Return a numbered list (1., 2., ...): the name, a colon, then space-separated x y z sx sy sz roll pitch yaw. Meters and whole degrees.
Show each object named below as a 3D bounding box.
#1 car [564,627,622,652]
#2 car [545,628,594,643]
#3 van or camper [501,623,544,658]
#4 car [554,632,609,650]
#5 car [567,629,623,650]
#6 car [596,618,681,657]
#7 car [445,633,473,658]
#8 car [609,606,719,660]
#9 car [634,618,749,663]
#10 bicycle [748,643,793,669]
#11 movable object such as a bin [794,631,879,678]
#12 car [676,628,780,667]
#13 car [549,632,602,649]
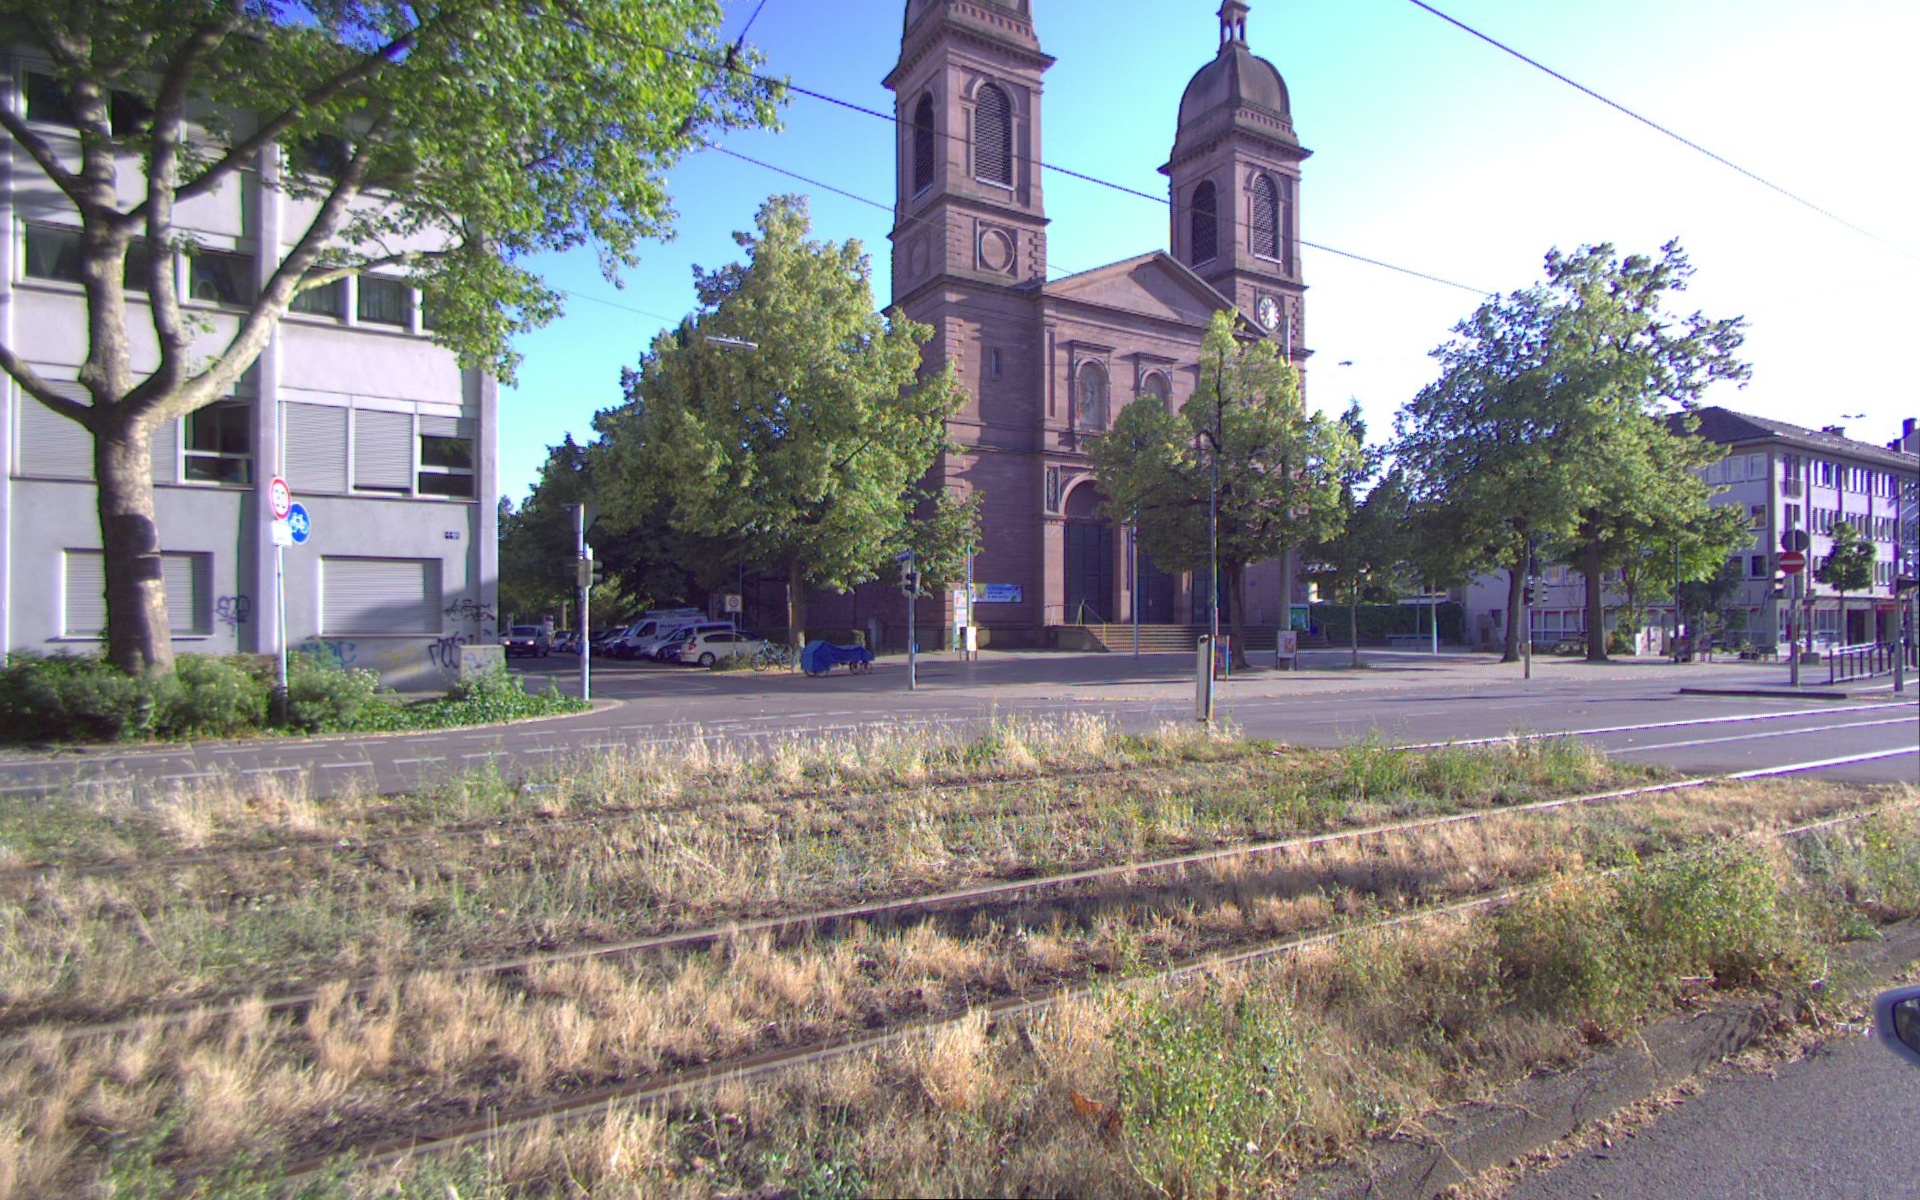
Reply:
1. car: -26.156 2.801 71.659 3.667 1.692 1.662 1 -1 -30
2. car: -33.087 3.004 85.195 3.667 1.222 1.662 1 -1 -30
3. van or camper: -27.255 2.498 62.712 1.969 2.040 5.114 1 -1 -19
4. car: -28.418 3.058 75.470 3.667 1.303 1.662 1 -1 -30
5. car: -26.787 2.878 73.752 3.667 1.464 1.662 1 -1 -30
6. car: -18.116 2.095 56.597 4.173 2.040 1.982 1 1 -33
7. car: -43.348 3.931 86.904 1.976 2.040 3.970 1 -1 -29
8. car: -15.996 1.755 54.430 5.381 2.710 1.980 1 1 -35
9. car: -13.239 1.987 49.628 5.120 2.040 1.981 1 1 -33
10. bicycle: -6.825 2.024 36.251 1.517 0.904 0.465 1 1 -27
11. movable object such as a bin: -3.933 1.705 31.988 2.416 1.228 1.102 -3 3 -30
12. car: -9.966 2.012 43.122 3.953 1.479 1.984 1 1 -30
13. car: -29.804 3.132 77.909 3.667 1.222 1.662 1 -1 -30
